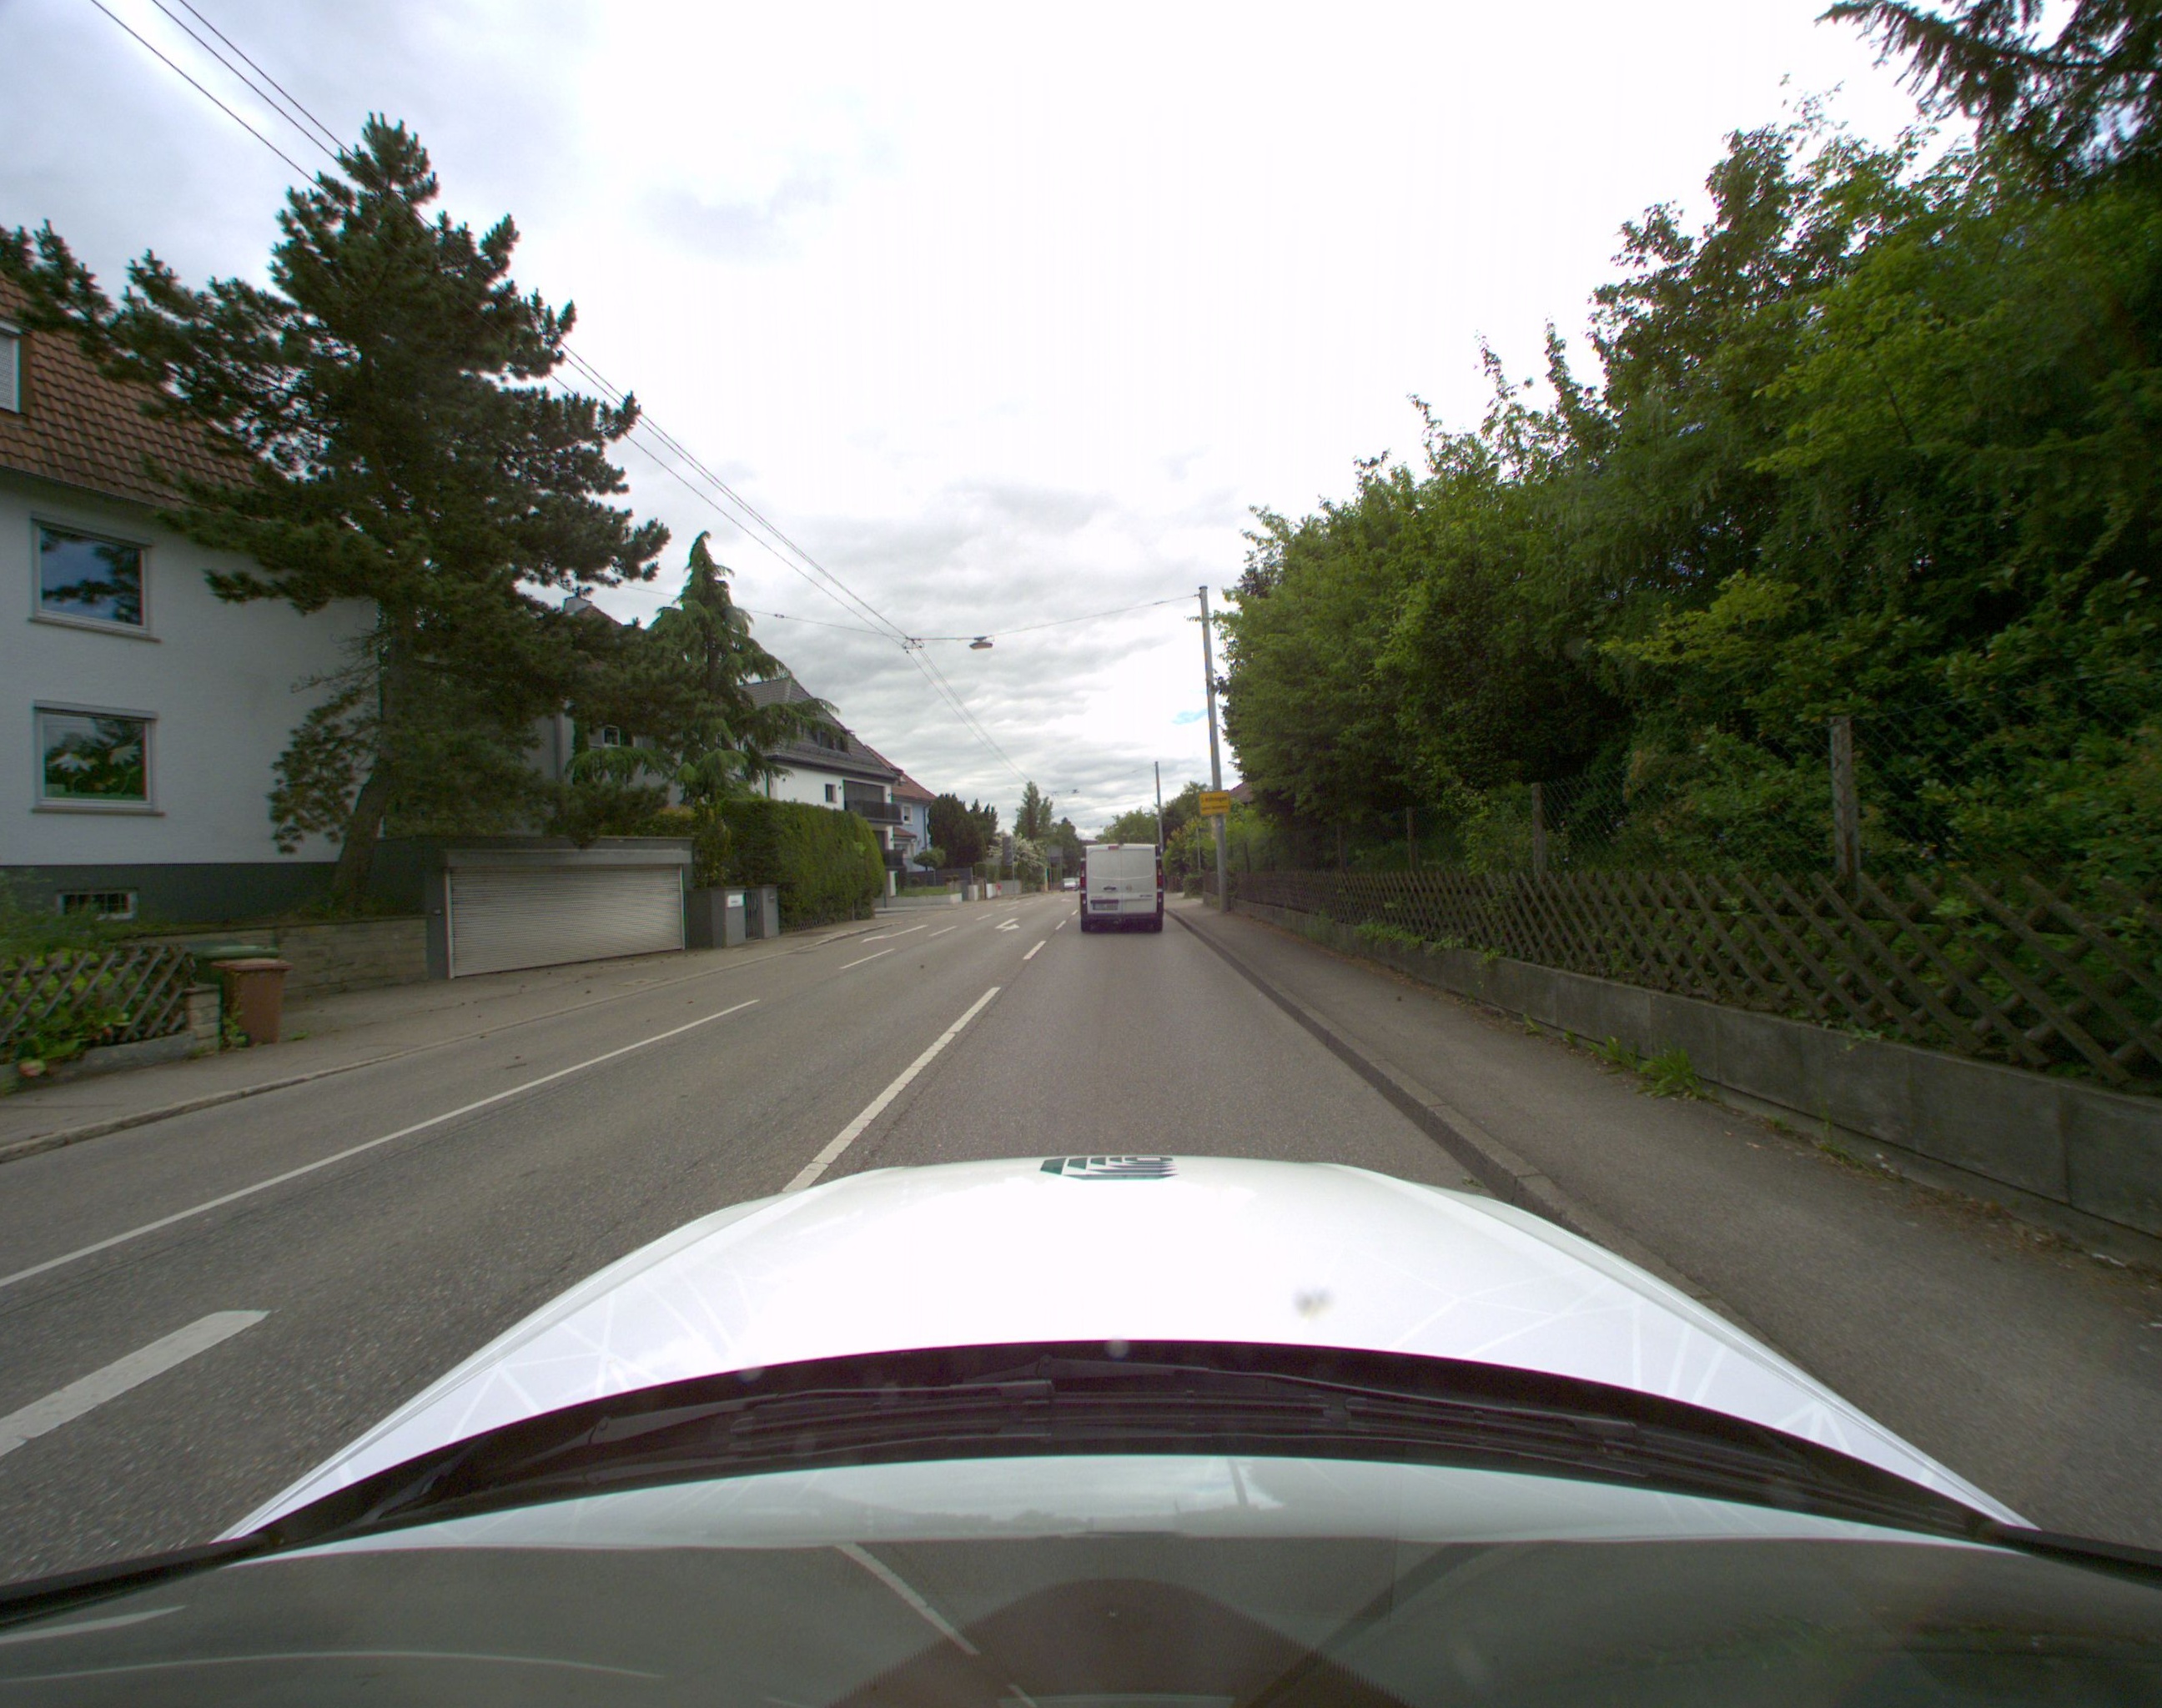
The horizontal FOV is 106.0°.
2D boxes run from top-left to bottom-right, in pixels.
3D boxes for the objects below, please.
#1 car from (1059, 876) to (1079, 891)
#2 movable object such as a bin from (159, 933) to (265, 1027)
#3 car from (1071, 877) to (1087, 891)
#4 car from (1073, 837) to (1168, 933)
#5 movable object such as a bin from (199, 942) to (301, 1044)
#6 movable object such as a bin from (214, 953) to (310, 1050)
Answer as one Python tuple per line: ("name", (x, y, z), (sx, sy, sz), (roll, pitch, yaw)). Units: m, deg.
("car", (-1.252, 3.249, 89.103), (1.802, 1.455, 4.415), (-5, -2, 2))
("movable object such as a bin", (-11.612, 1.640, 10.873), (1.576, 1.081, 0.721), (-2, -1, 34))
("car", (-0.261, 3.821, 103.678), (1.672, 1.556, 3.974), (-4, -2, 3))
("car", (0.951, 0.686, 19.896), (1.998, 2.038, 5.013), (-1, -1, 2))
("movable object such as a bin", (-9.506, 1.564, 9.324), (0.474, 1.035, 0.721), (-3, -1, 31))
("movable object such as a bin", (-9.092, 1.612, 9.048), (0.459, 0.942, 0.651), (-3, -1, 31))
